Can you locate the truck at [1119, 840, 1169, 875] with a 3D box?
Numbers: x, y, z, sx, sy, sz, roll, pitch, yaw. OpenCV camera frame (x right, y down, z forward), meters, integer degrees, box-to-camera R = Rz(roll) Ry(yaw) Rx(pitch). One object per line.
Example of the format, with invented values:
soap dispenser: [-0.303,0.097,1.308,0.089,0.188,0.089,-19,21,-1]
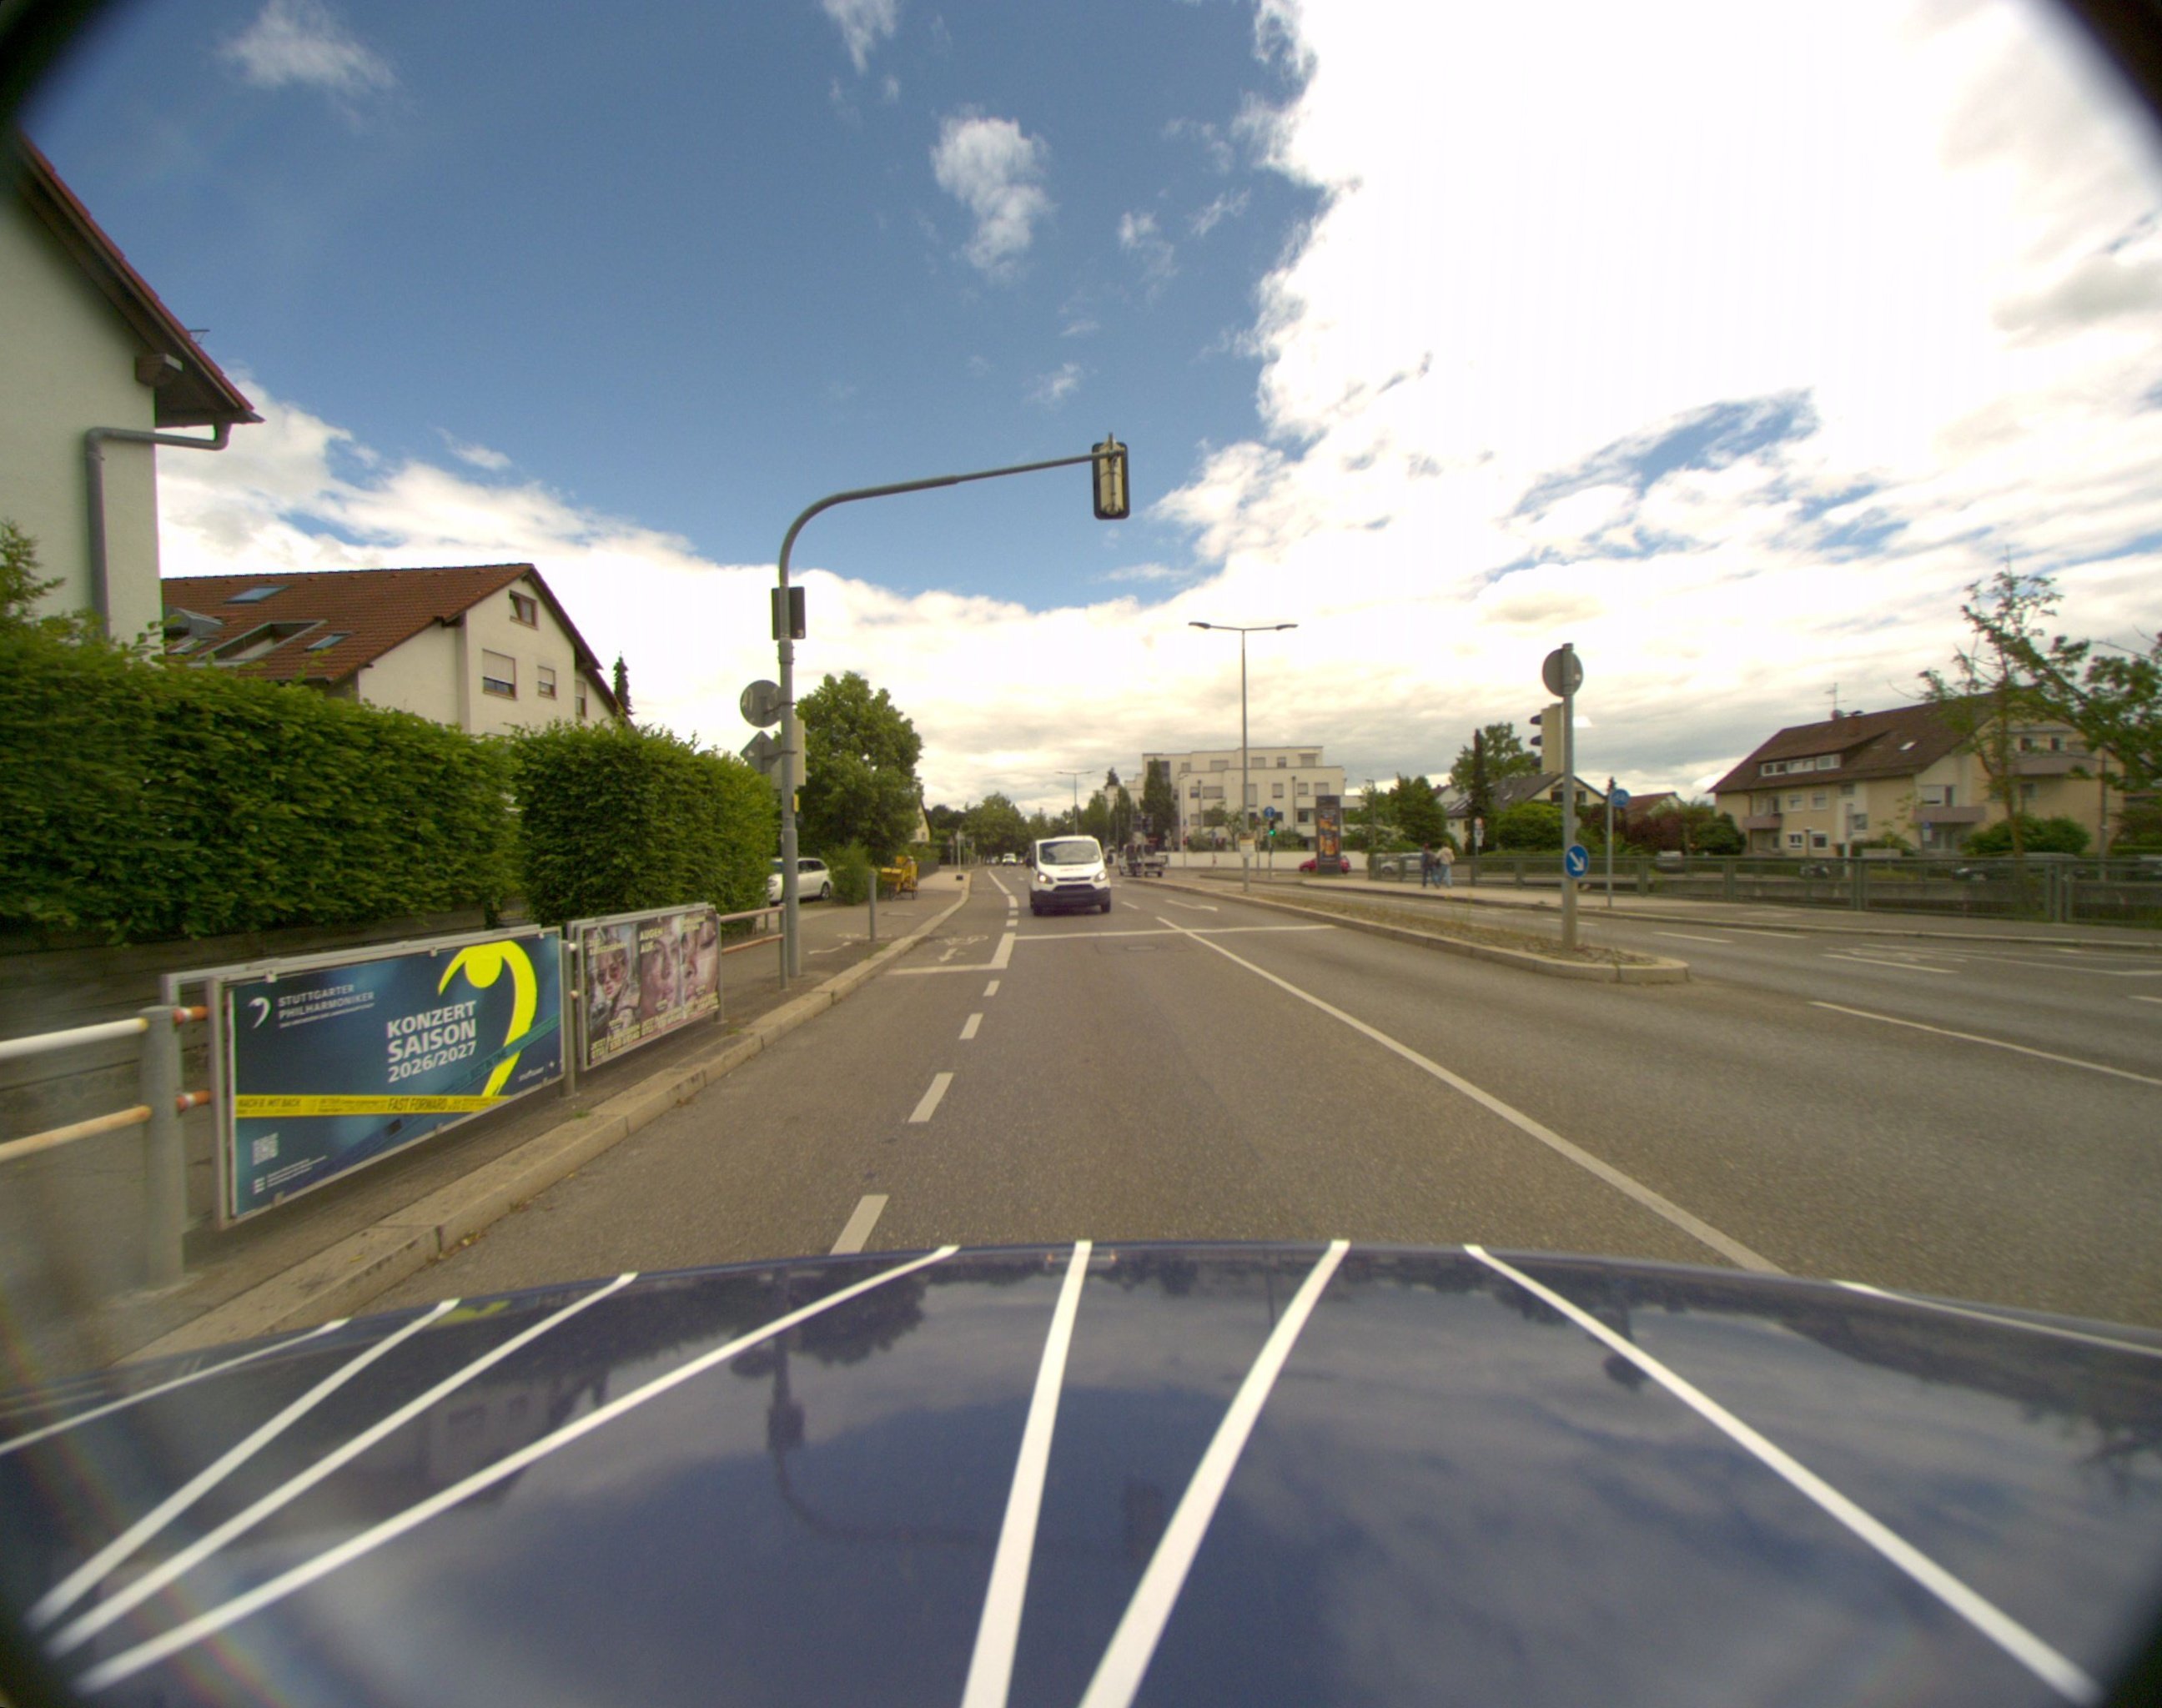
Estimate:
truck: [4.267,0.226,52.702,2.132,2.251,6.800,0,1,-7]

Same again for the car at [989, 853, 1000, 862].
car: [-14.453,0.569,126.447,1.562,1.343,3.539,1,0,-2]

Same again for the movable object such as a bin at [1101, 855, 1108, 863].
movable object such as a bin: [2.774,0.596,89.835,0.498,0.954,0.985,-5,1,-10]

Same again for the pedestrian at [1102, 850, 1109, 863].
pedestrian: [2.875,0.317,88.989,0.533,1.534,0.731,-6,1,-10]

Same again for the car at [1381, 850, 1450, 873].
car: [23.384,0.513,53.231,4.117,1.526,1.651,1,1,38]

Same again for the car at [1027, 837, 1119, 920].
car: [-0.384,0.585,21.199,2.076,1.956,5.554,-2,0,-5]

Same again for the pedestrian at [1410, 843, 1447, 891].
pedestrian: [12.344,0.447,27.020,0.658,1.624,1.069,-3,1,-13]

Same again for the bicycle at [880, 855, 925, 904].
bicycle: [-5.993,0.813,25.723,0.894,1.501,2.782,3,0,-2]

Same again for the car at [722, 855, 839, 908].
car: [-9.276,0.822,23.836,1.673,1.495,4.062,-1,-1,6]

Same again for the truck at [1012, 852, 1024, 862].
truck: [-11.140,0.545,134.975,1.618,1.649,4.000,0,0,1]

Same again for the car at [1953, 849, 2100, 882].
car: [47.646,0.554,38.455,4.363,1.598,2.004,0,1,40]

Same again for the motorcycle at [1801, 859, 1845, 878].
motorcycle: [42.073,0.814,43.131,0.701,0.994,2.123,4,2,11]

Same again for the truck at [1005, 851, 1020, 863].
truck: [-9.810,0.410,109.238,1.615,1.780,4.001,0,0,3]

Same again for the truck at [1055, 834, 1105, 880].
truck: [-0.152,0.158,45.095,2.038,2.555,6.052,0,0,-9]

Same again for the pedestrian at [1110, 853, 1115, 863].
pedestrian: [3.654,0.468,88.187,0.326,1.056,0.443,-5,1,-9]

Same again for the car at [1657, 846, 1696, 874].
car: [40.737,0.388,51.945,1.782,1.572,4.007,-3,1,41]

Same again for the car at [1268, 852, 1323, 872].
car: [16.559,0.604,58.632,3.692,1.438,1.779,1,2,36]

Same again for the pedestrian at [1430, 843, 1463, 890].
pedestrian: [13.045,0.436,27.143,0.658,1.624,0.832,-3,1,-13]
